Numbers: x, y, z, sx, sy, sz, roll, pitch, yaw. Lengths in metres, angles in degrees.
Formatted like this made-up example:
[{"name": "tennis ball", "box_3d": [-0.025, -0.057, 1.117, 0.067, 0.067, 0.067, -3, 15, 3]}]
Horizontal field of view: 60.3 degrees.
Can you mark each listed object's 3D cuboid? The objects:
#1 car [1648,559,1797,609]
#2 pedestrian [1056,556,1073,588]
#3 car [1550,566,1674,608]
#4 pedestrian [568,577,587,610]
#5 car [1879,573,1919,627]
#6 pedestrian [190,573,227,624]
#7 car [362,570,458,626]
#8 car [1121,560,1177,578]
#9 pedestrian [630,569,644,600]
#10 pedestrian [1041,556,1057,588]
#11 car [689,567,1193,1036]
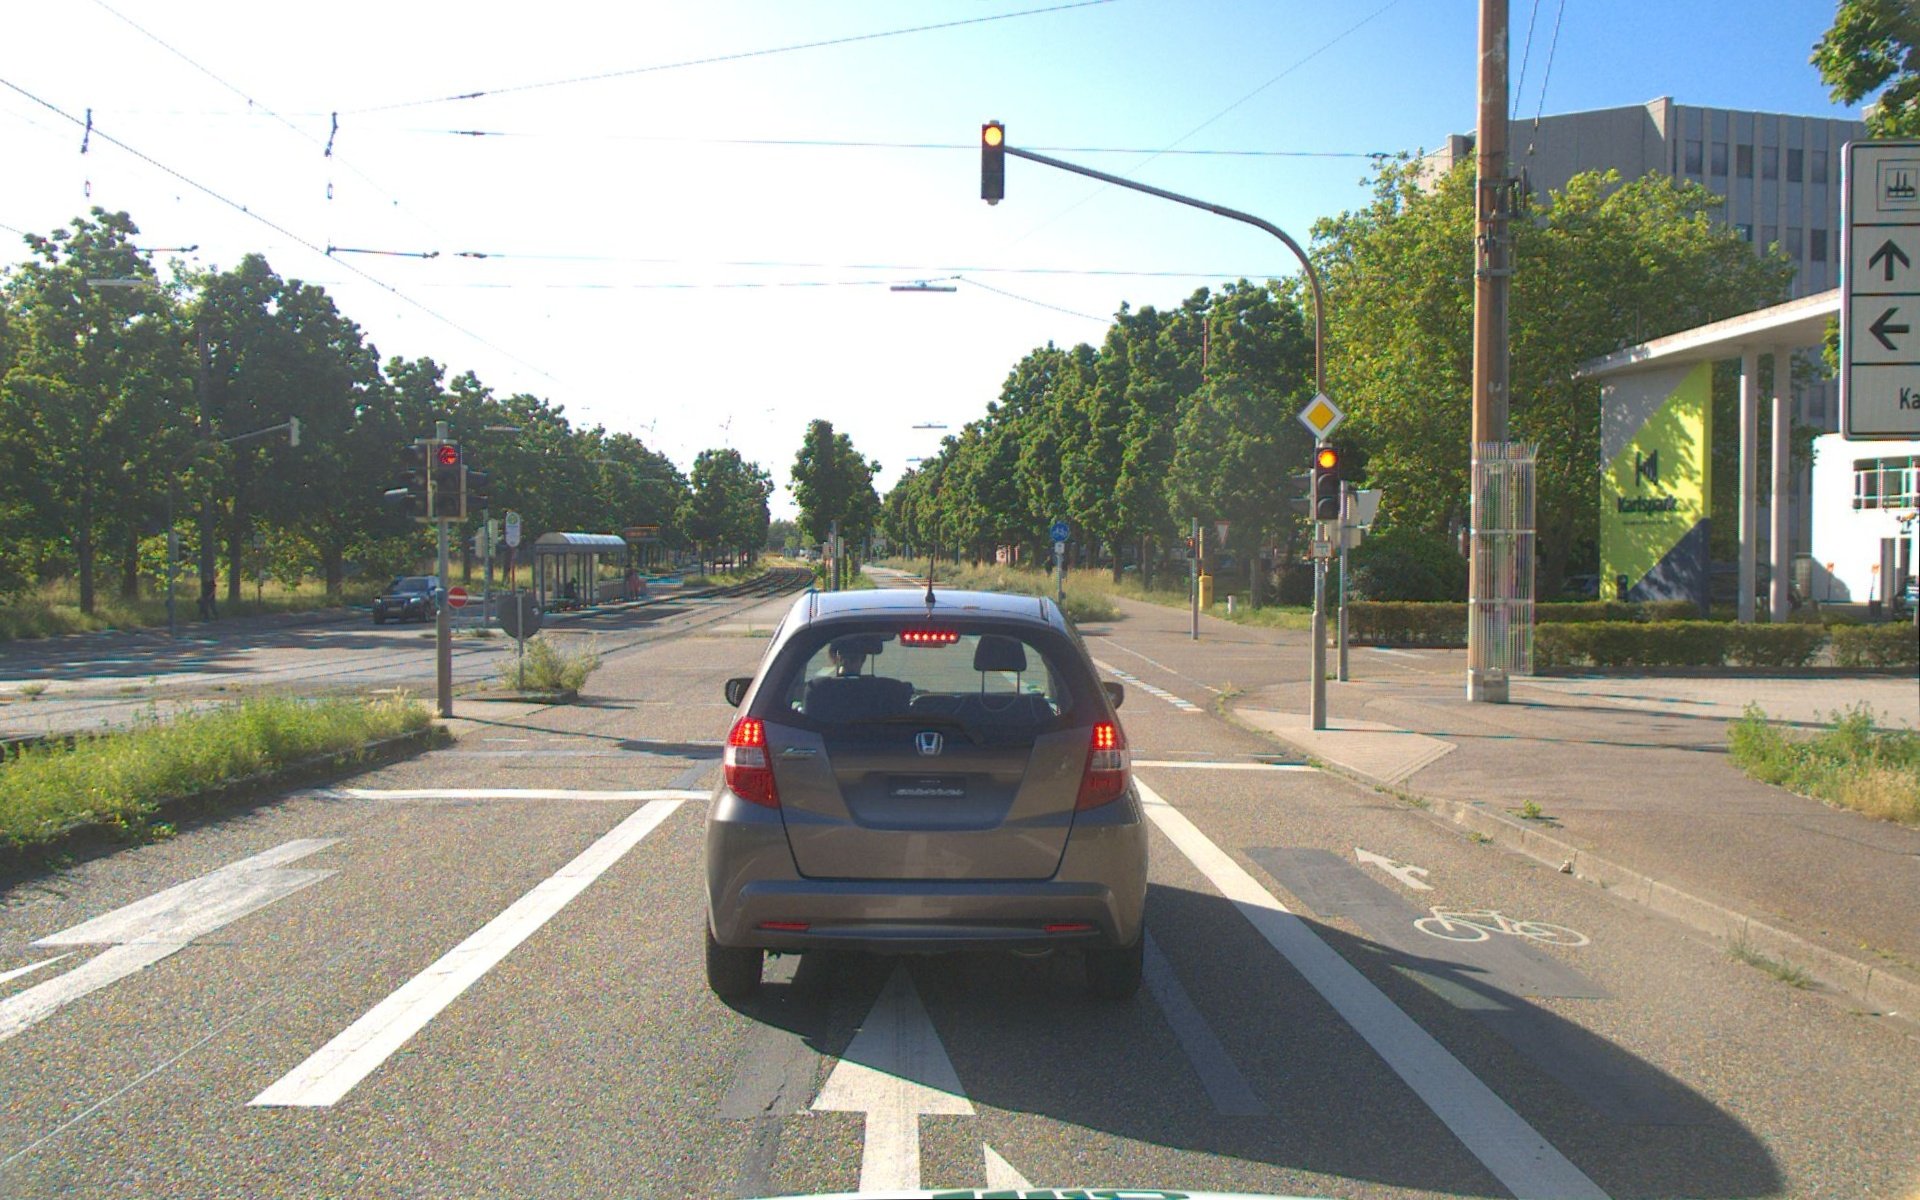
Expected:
[{"name": "car", "box_3d": [28.001, -0.608, 60.765, 4.803, 1.787, 2.083, 0, 1, -16]}, {"name": "pedestrian", "box_3d": [6.336, -1.679, 100.405, 0.865, 1.917, 0.875, 0, 1, -5]}, {"name": "car", "box_3d": [26.635, -0.540, 67.607, 4.371, 1.715, 1.892, 0, 1, -7]}, {"name": "pedestrian", "box_3d": [-15.095, -0.262, 65.305, 0.552, 1.279, 0.580, -2, 0, -2]}, {"name": "car", "box_3d": [30.632, -0.015, 50.738, 3.914, 1.605, 1.950, 0, 1, -10]}, {"name": "pedestrian", "box_3d": [-26.477, -0.052, 58.286, 0.744, 1.764, 0.936, 0, 1, 27]}, {"name": "car", "box_3d": [-20.206, -0.116, 61.001, 2.052, 1.841, 4.791, -2, 2, -3]}, {"name": "car", "box_3d": [16.552, -2.724, 144.816, 4.543, 1.582, 1.997, -1, 1, -7]}, {"name": "pedestrian", "box_3d": [-15.585, -0.761, 79.859, 0.533, 1.473, 0.559, -1, 0, -1]}, {"name": "pedestrian", "box_3d": [5.415, -1.695, 100.378, 0.865, 1.917, 0.875, 0, 1, -5]}, {"name": "car", "box_3d": [-0.086, 0.670, 7.367, 1.666, 1.550, 3.709, 1, 0, -1]}]
